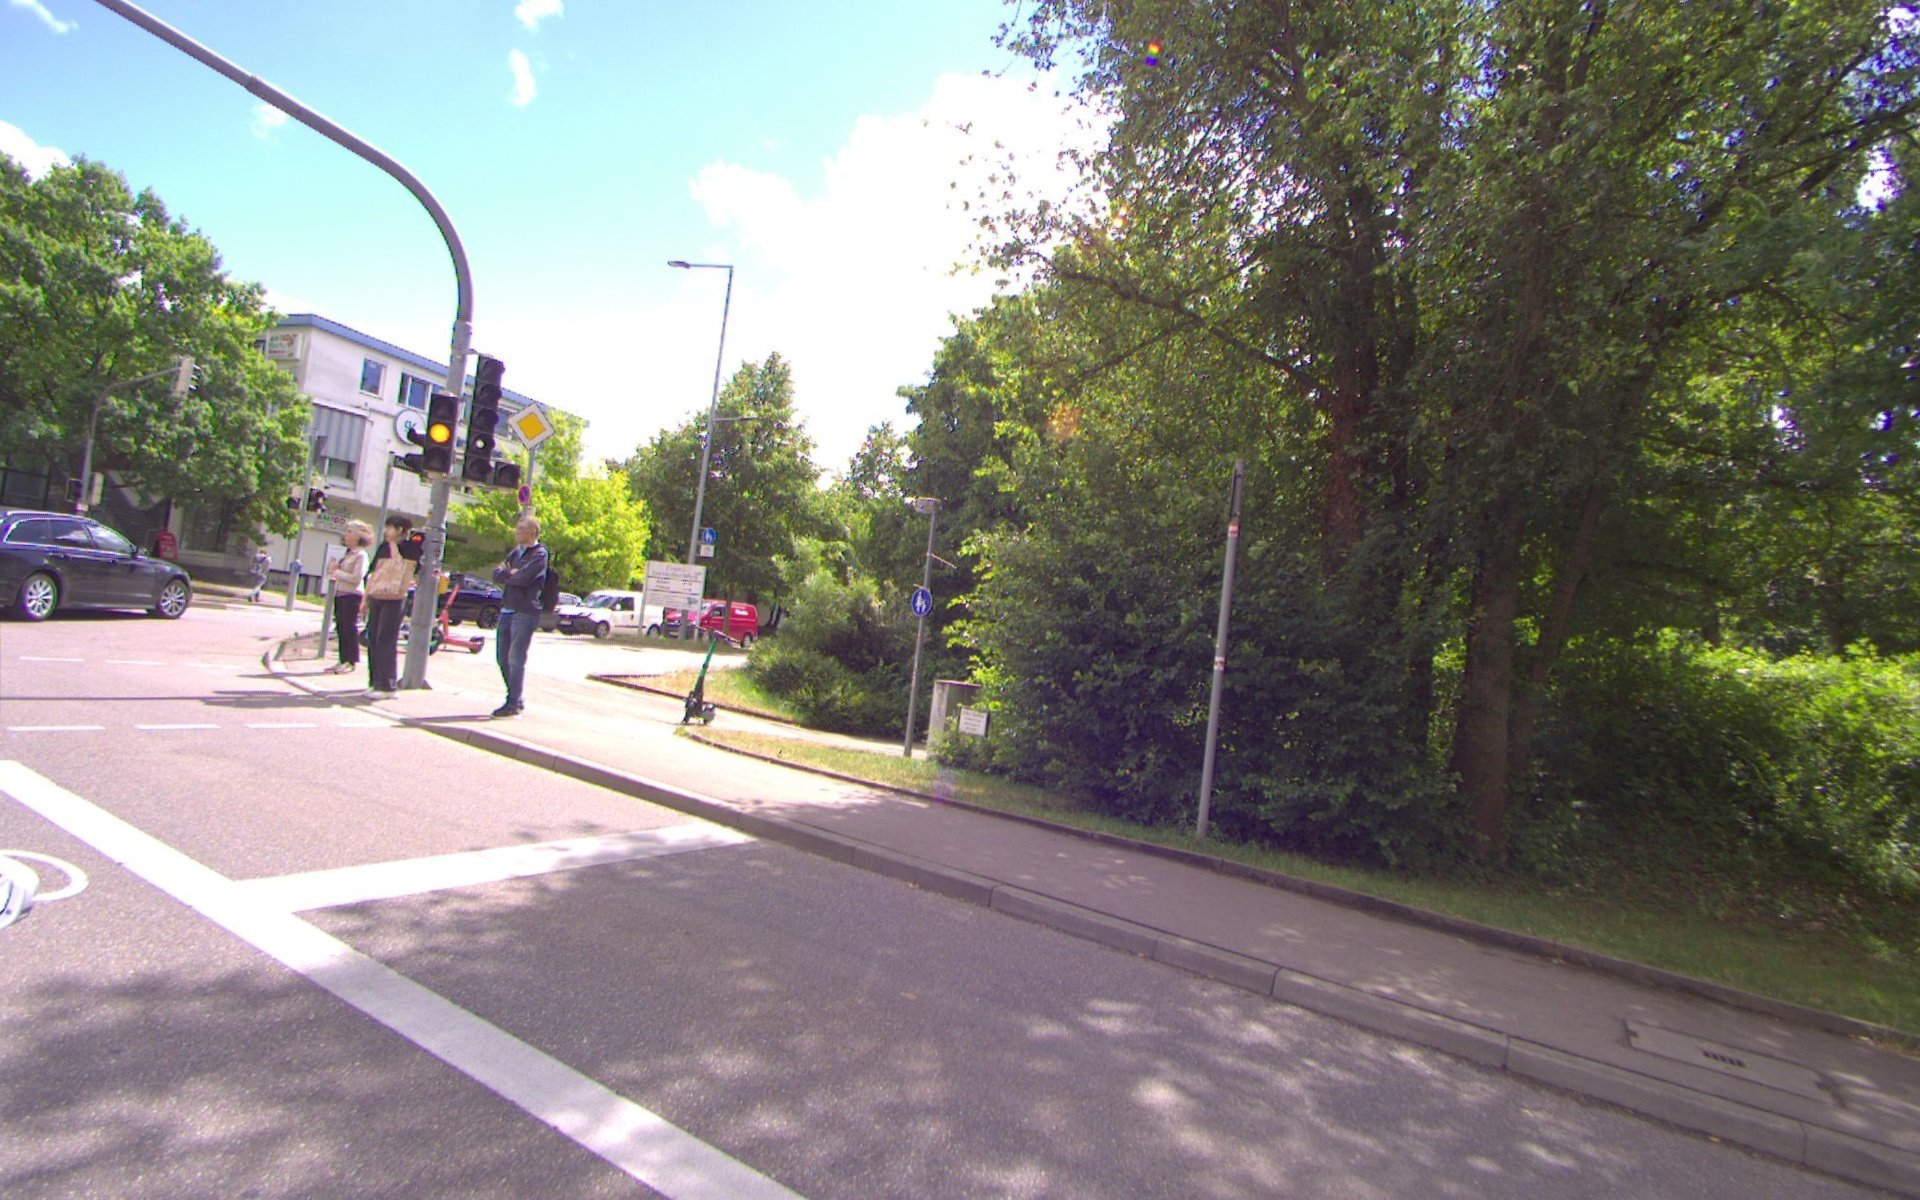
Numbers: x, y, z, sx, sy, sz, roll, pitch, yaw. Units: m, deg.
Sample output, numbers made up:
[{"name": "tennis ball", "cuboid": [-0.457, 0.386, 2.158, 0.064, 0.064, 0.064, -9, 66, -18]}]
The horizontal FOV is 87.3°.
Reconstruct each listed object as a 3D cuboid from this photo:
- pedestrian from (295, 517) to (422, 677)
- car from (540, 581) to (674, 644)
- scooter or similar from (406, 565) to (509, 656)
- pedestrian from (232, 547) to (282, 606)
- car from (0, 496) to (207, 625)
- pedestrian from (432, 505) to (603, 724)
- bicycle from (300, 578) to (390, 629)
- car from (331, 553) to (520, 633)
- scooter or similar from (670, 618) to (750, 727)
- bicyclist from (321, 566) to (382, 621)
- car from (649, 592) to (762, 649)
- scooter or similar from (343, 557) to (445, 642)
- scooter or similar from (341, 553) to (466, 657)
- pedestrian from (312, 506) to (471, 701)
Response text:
[{"name": "pedestrian", "cuboid": [-6.923, -0.031, 11.578, 0.950, 1.694, 0.860, 7, -1, -43]}, {"name": "car", "cuboid": [-12.935, 0.512, 37.229, 1.963, 1.737, 4.576, 7, -2, 23]}, {"name": "scooter or similar", "cuboid": [-7.925, 0.186, 15.911, 0.547, 1.254, 1.231, 8, -3, 23]}, {"name": "pedestrian", "cuboid": [-21.525, -0.698, 30.820, 0.758, 1.662, 0.906, 8, -1, -10]}, {"name": "car", "cuboid": [-13.073, -0.570, 14.164, 1.967, 1.571, 4.516, 7, -2, -10]}, {"name": "pedestrian", "cuboid": [-4.306, 0.162, 9.834, 0.881, 1.964, 0.968, 7, -1, 28]}, {"name": "bicycle", "cuboid": [-13.123, 0.070, 21.462, 1.777, 0.828, 0.794, 7, -2, 30]}, {"name": "car", "cuboid": [-15.800, -0.143, 30.023, 1.964, 1.737, 4.574, 7, -2, 25]}, {"name": "scooter or similar", "cuboid": [-3.337, 0.998, 13.525, 0.706, 1.287, 1.243, 10, -7, -7]}, {"name": "bicyclist", "cuboid": [-12.922, -0.132, 21.364, 0.625, 1.034, 0.794, 7, -2, 29]}, {"name": "car", "cuboid": [-10.609, 0.898, 42.345, 1.964, 1.885, 4.822, 5, -3, 23]}, {"name": "scooter or similar", "cuboid": [-8.934, 0.022, 15.943, 0.533, 1.168, 1.362, 9, -3, 7]}, {"name": "scooter or similar", "cuboid": [-7.874, 0.095, 14.279, 0.455, 1.292, 1.344, 8, -1, 38]}, {"name": "pedestrian", "cuboid": [-5.634, 0.051, 10.014, 0.758, 1.787, 0.936, 7, 0, 20]}]
